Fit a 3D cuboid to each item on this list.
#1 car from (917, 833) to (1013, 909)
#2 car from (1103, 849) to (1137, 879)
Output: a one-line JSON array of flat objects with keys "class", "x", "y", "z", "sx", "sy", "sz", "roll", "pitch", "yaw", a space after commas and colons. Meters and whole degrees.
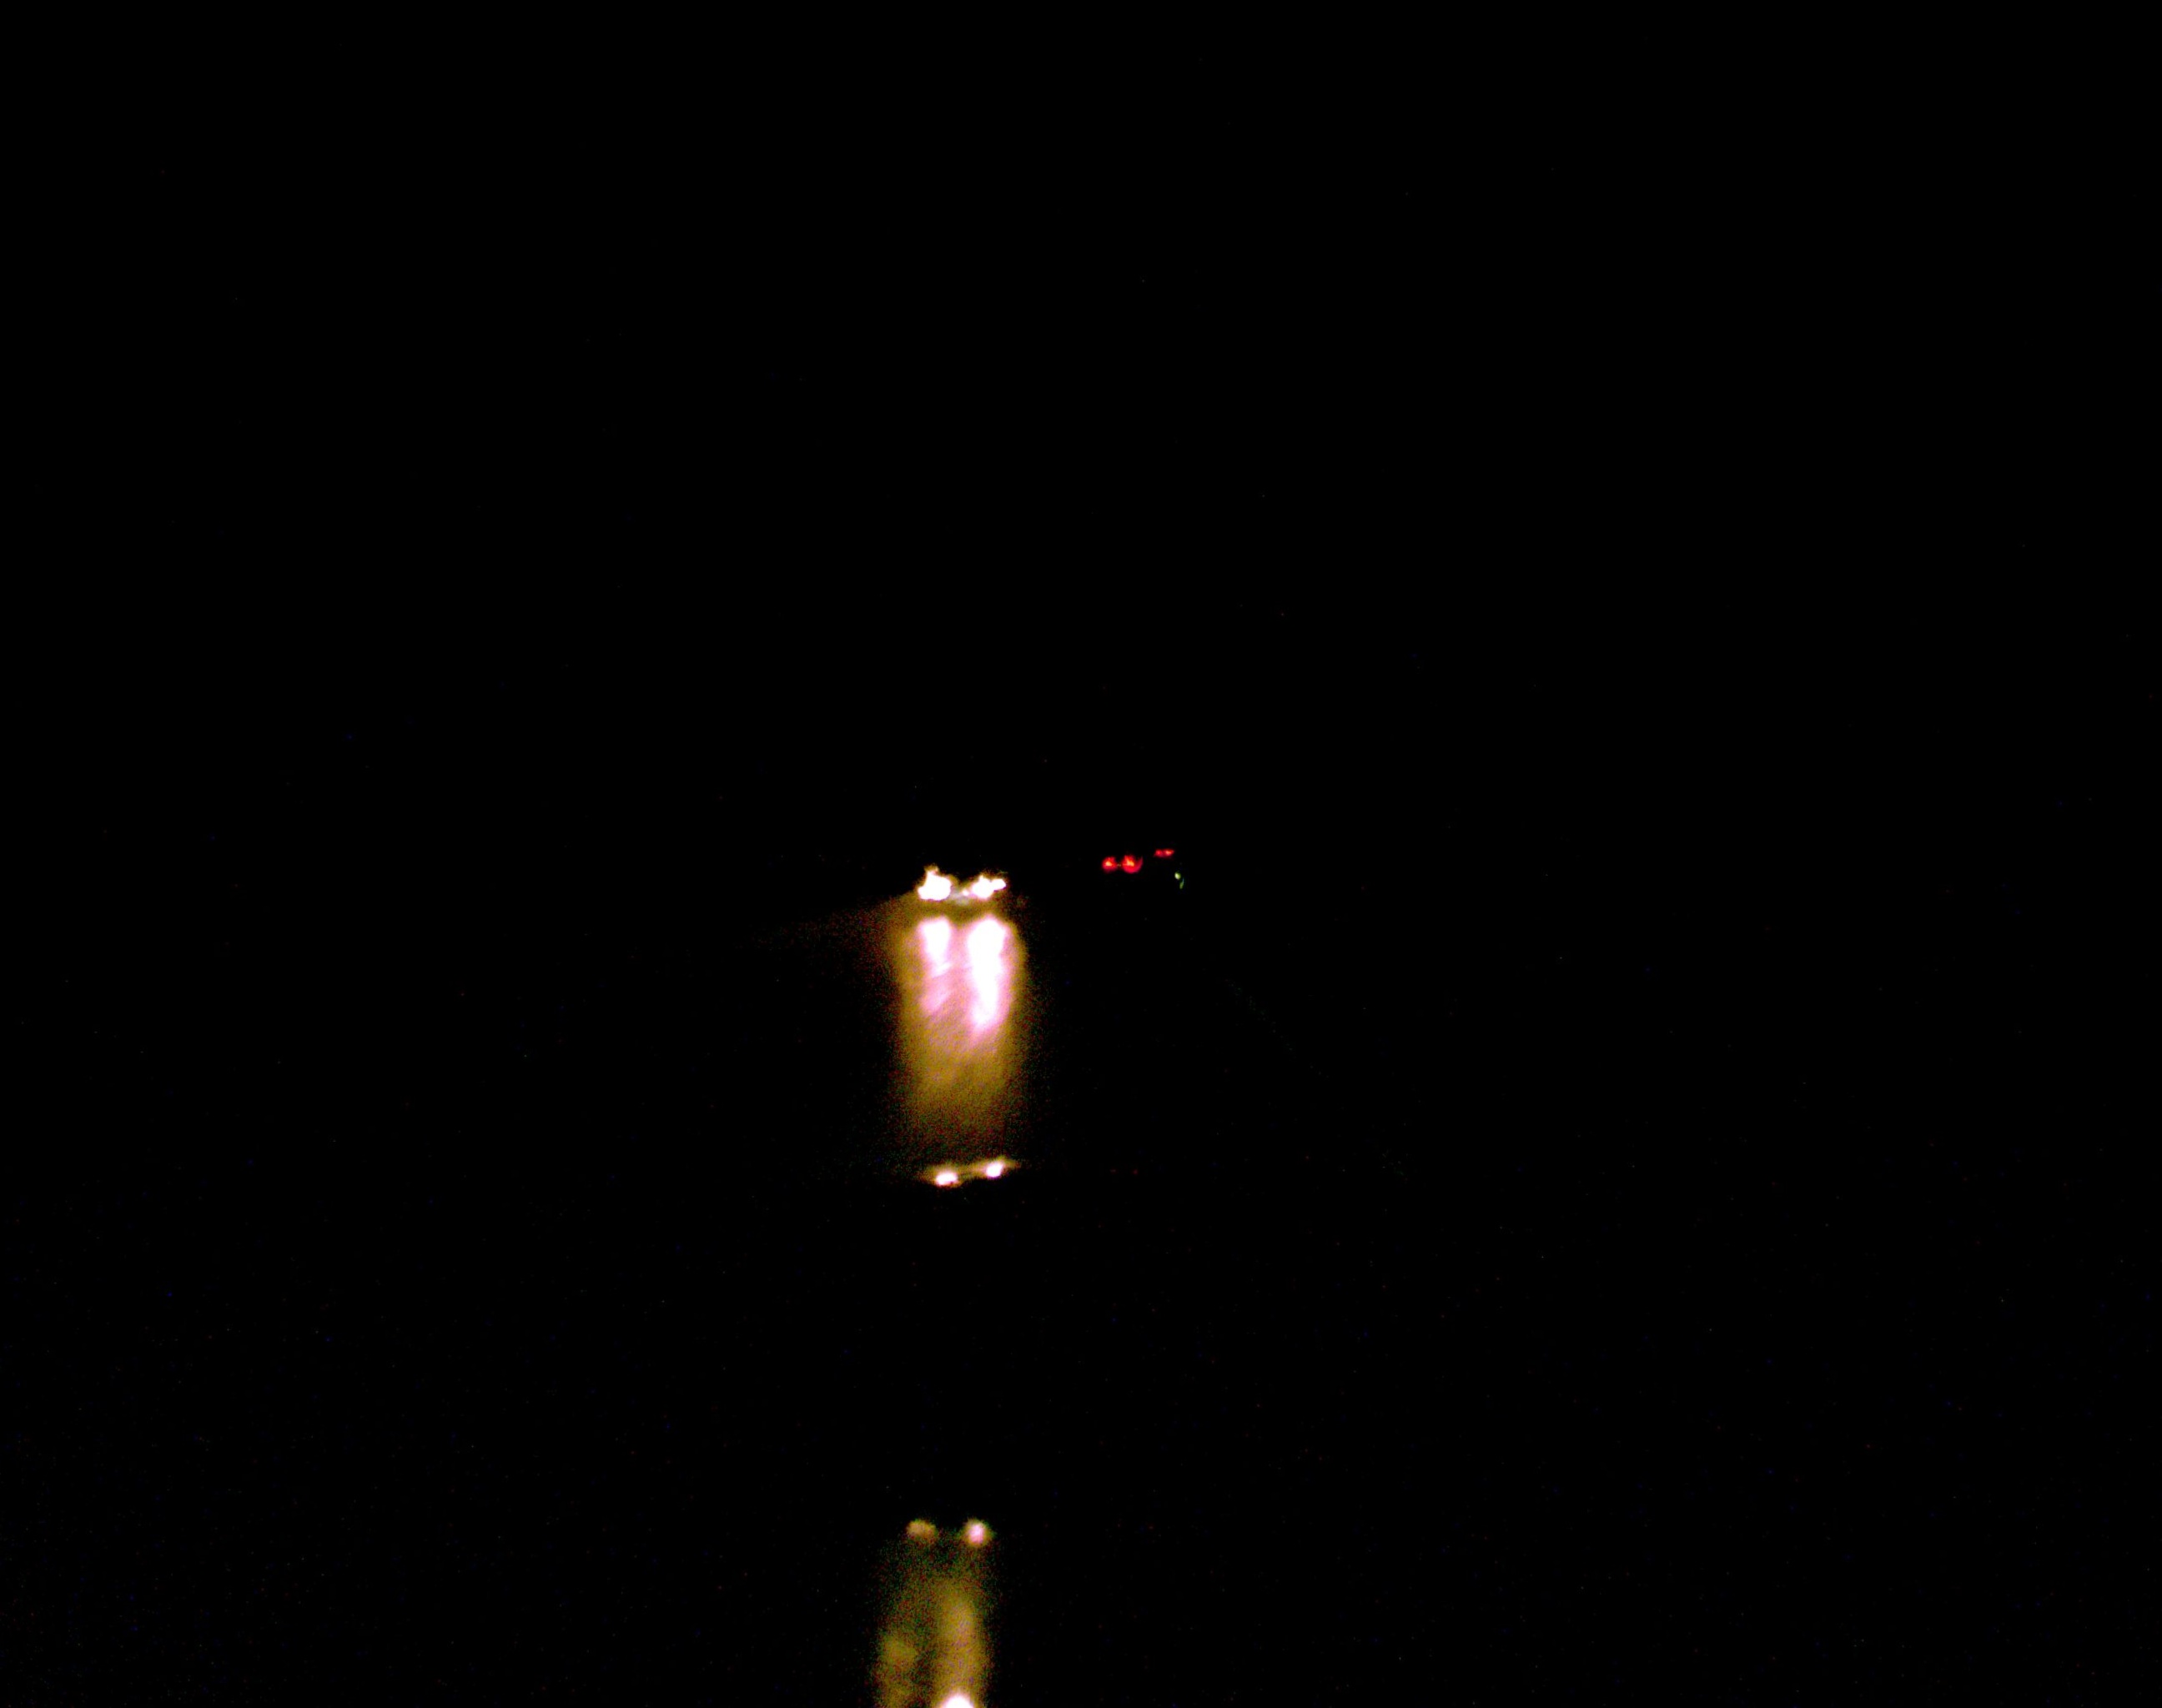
[{"class": "car", "x": -3.402, "y": 0.468, "z": 24.757, "sx": 1.985, "sy": 2.013, "sz": 4.279, "roll": -3, "pitch": 0, "yaw": 3}, {"class": "car", "x": 2.489, "y": 0.589, "z": 50.844, "sx": 1.833, "sy": 1.740, "sz": 4.007, "roll": -2, "pitch": 0, "yaw": 6}]
